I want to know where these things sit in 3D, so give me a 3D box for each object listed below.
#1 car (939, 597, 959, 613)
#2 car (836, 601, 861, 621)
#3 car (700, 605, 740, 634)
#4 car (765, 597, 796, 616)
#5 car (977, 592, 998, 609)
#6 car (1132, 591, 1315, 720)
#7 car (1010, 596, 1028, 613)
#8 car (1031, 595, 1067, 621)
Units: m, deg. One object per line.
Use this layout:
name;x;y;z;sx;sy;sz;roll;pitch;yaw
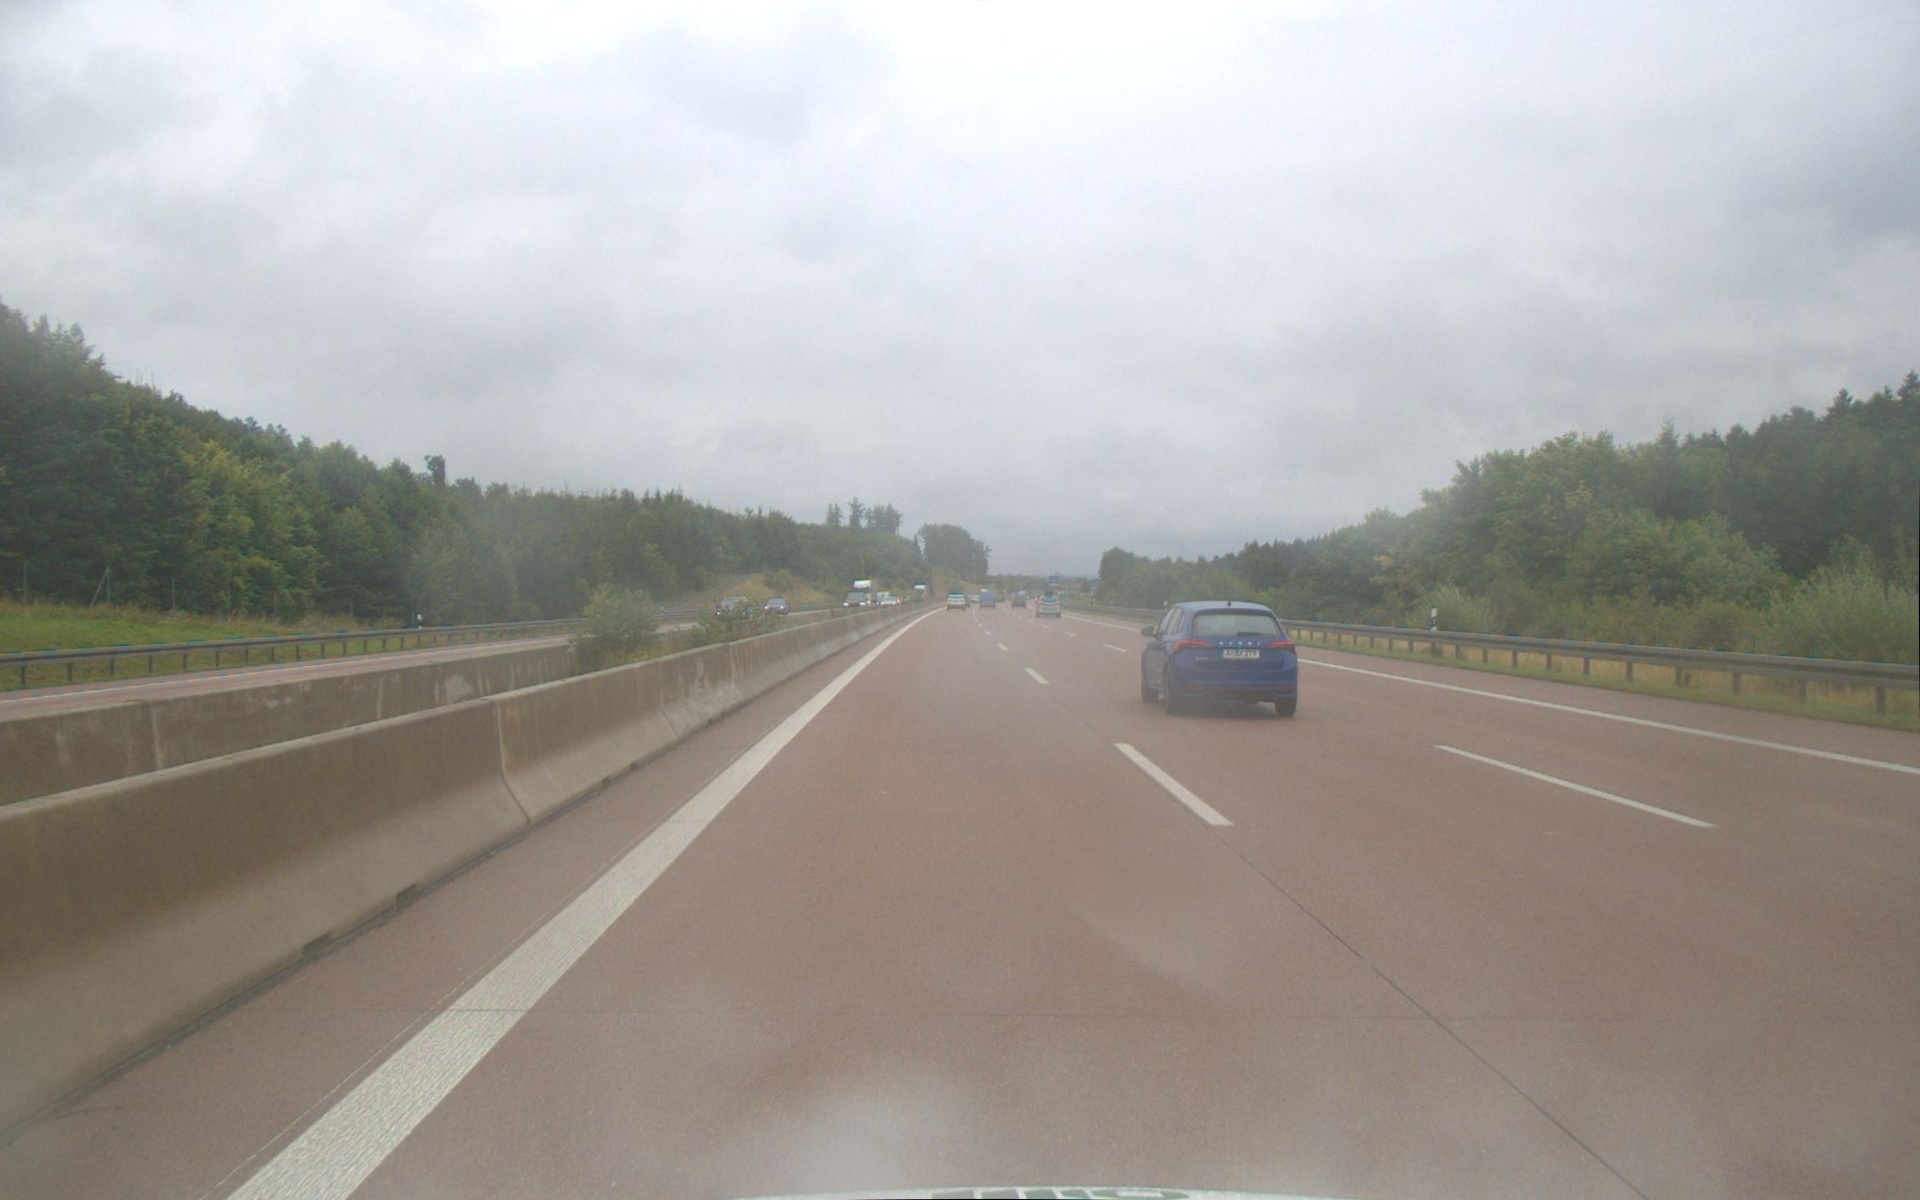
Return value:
car;-1.098;0.520;163.014;1.836;1.470;4.875;1;-1;-1
car;-9.413;0.920;139.710;1.827;1.578;4.807;1;0;0
car;-13.502;1.111;93.356;1.681;1.610;4.315;-1;-1;-1
car;-16.150;0.620;148.885;1.952;1.587;5.745;1;-1;2
car;3.235;0.052;193.707;2.275;1.780;4.875;1;-1;-2
car;3.527;0.733;22.824;1.735;1.591;4.145;1;-1;-2
car;7.467;0.622;209.667;1.953;2.049;3.998;1;-1;-2
car;6.599;0.617;123.096;2.275;1.780;4.875;1;-1;-2
